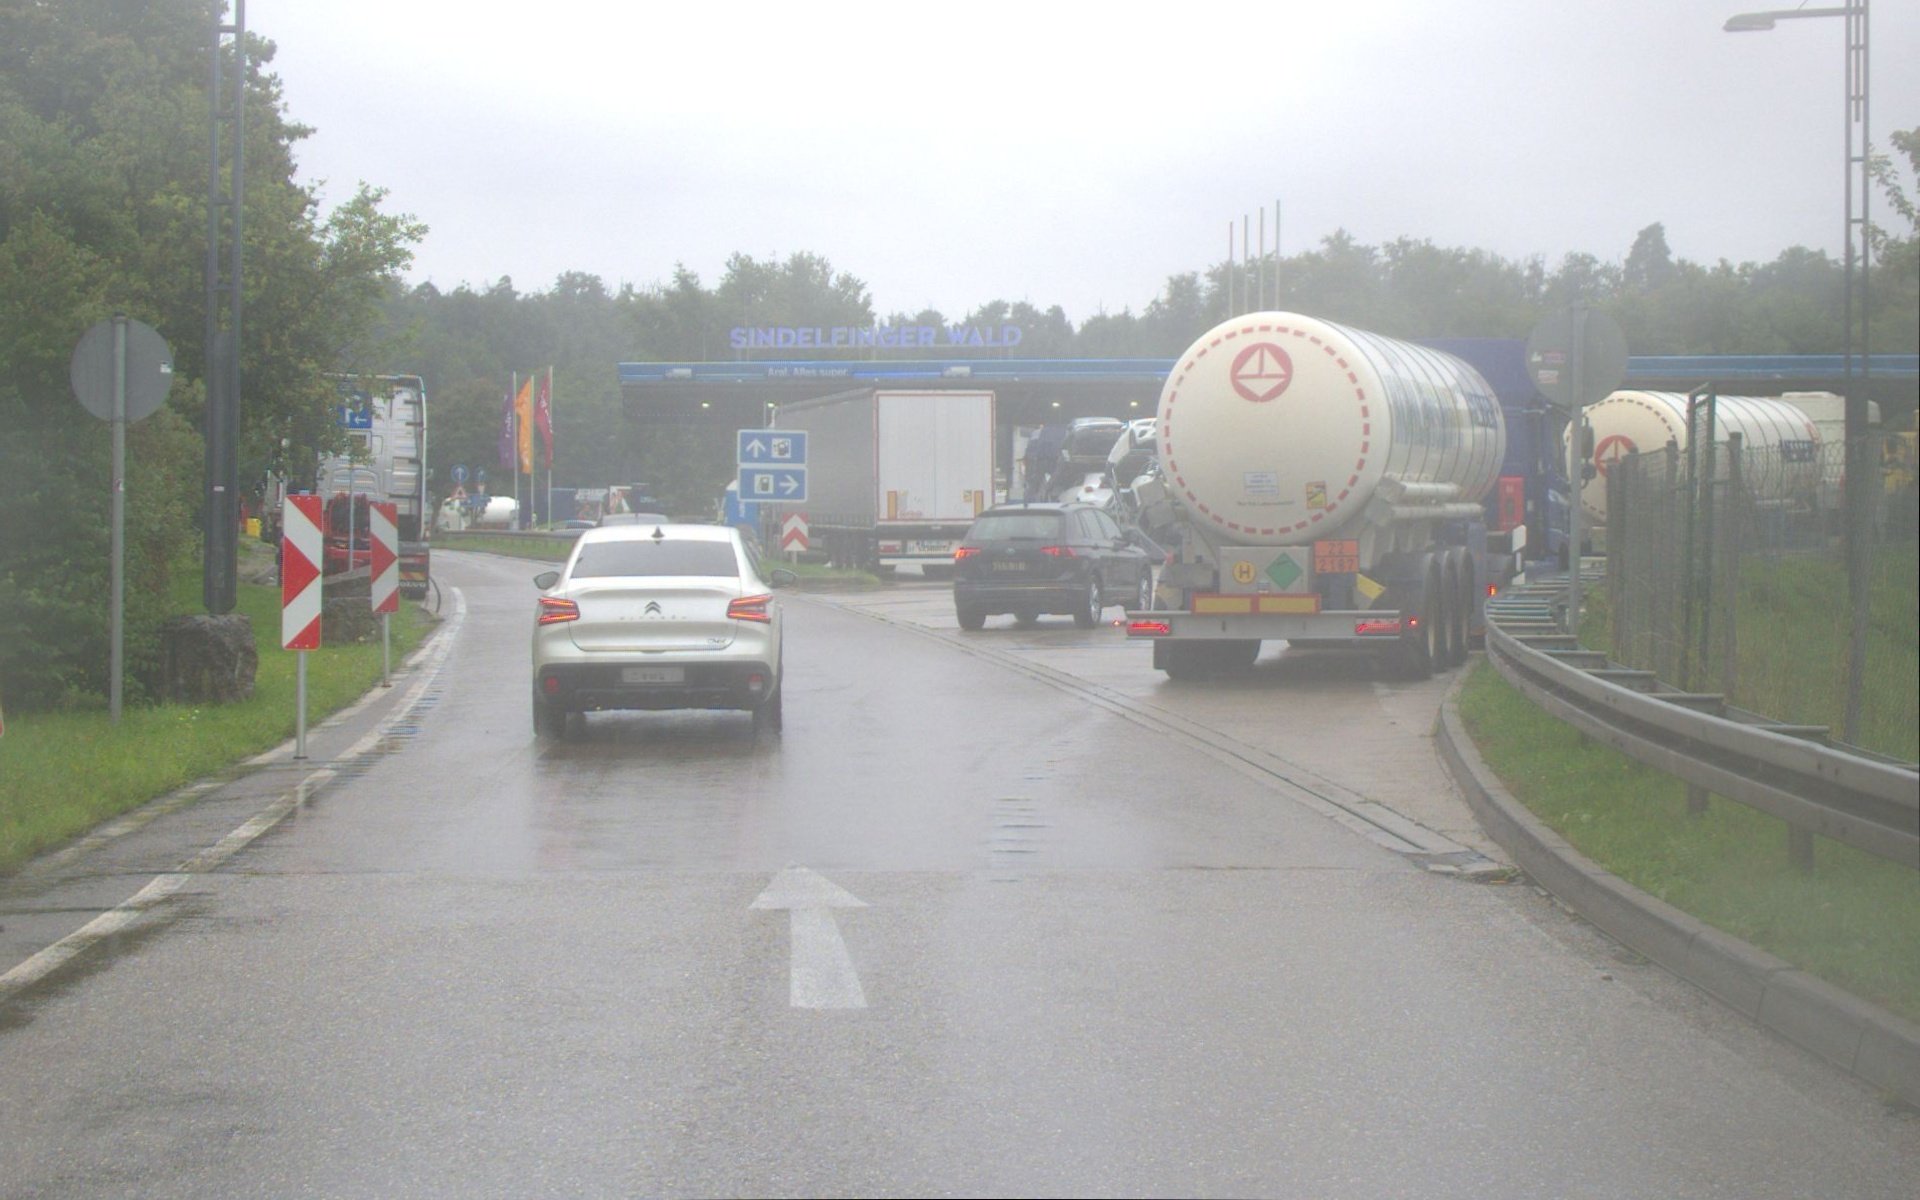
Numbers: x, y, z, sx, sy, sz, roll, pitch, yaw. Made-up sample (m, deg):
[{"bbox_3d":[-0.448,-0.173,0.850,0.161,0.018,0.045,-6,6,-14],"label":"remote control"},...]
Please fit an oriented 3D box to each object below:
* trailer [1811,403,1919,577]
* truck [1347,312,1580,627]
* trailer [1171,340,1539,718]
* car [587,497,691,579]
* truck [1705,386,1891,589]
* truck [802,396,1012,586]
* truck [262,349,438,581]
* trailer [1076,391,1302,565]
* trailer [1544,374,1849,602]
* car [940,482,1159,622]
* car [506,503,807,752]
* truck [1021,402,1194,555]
[{"bbox_3d":[19.948,-2.247,70.545,2.187,3.380,7.549,1,2,35],"label":"trailer"},{"bbox_3d":[6.067,-1.530,40.960,2.054,3.519,4.742,1,2,17],"label":"truck"},{"bbox_3d":[4.211,-0.740,34.488,1.982,3.213,10.314,1,2,16],"label":"trailer"},{"bbox_3d":[-6.027,-1.180,64.862,1.878,1.456,4.001,1,1,-5],"label":"car"},{"bbox_3d":[15.168,-2.021,62.055,2.149,3.501,4.639,1,2,28],"label":"truck"},{"bbox_3d":[-1.363,-2.441,76.462,2.370,3.860,12.459,-1,2,-12],"label":"truck"},{"bbox_3d":[-10.905,-2.367,61.191,2.914,3.891,6.318,0,2,-11],"label":"truck"},{"bbox_3d":[5.758,-3.166,89.154,3.215,4.174,11.533,1,2,-9],"label":"trailer"},{"bbox_3d":[12.333,-1.836,56.735,2.134,3.428,10.237,1,2,28],"label":"trailer"},{"bbox_3d":[1.229,-0.595,45.199,1.744,1.661,3.996,2,0,18],"label":"car"},{"bbox_3d":[-2.144,0.179,25.297,1.993,1.673,4.000,0,0,-2],"label":"car"},{"bbox_3d":[4.148,-3.499,98.992,3.233,4.174,8.446,1,2,-9],"label":"truck"}]
